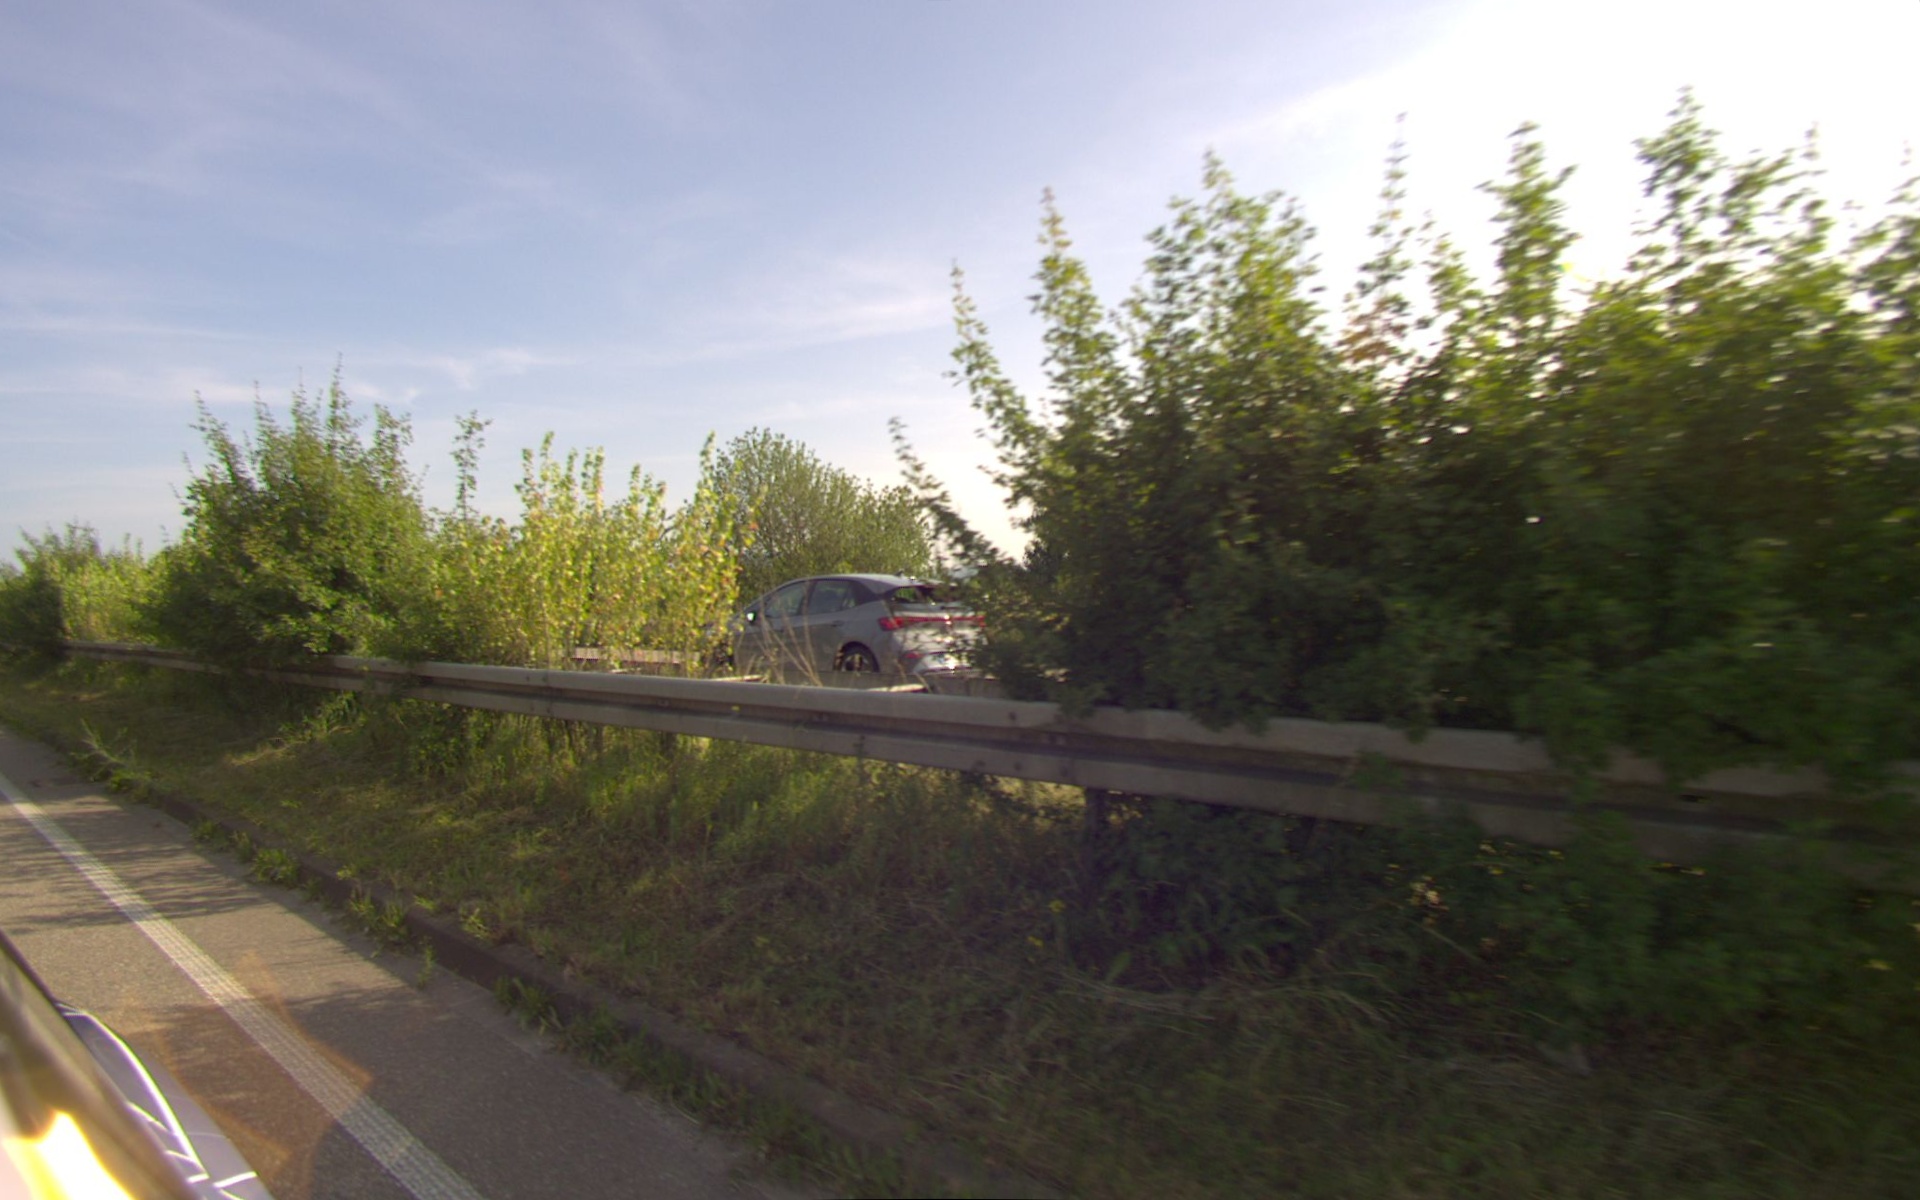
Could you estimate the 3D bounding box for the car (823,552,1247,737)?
[{"bbox_3d":[0.621,0.409,10.688,4.291,1.567,1.762,-1,0,43],"label":"car"}]
